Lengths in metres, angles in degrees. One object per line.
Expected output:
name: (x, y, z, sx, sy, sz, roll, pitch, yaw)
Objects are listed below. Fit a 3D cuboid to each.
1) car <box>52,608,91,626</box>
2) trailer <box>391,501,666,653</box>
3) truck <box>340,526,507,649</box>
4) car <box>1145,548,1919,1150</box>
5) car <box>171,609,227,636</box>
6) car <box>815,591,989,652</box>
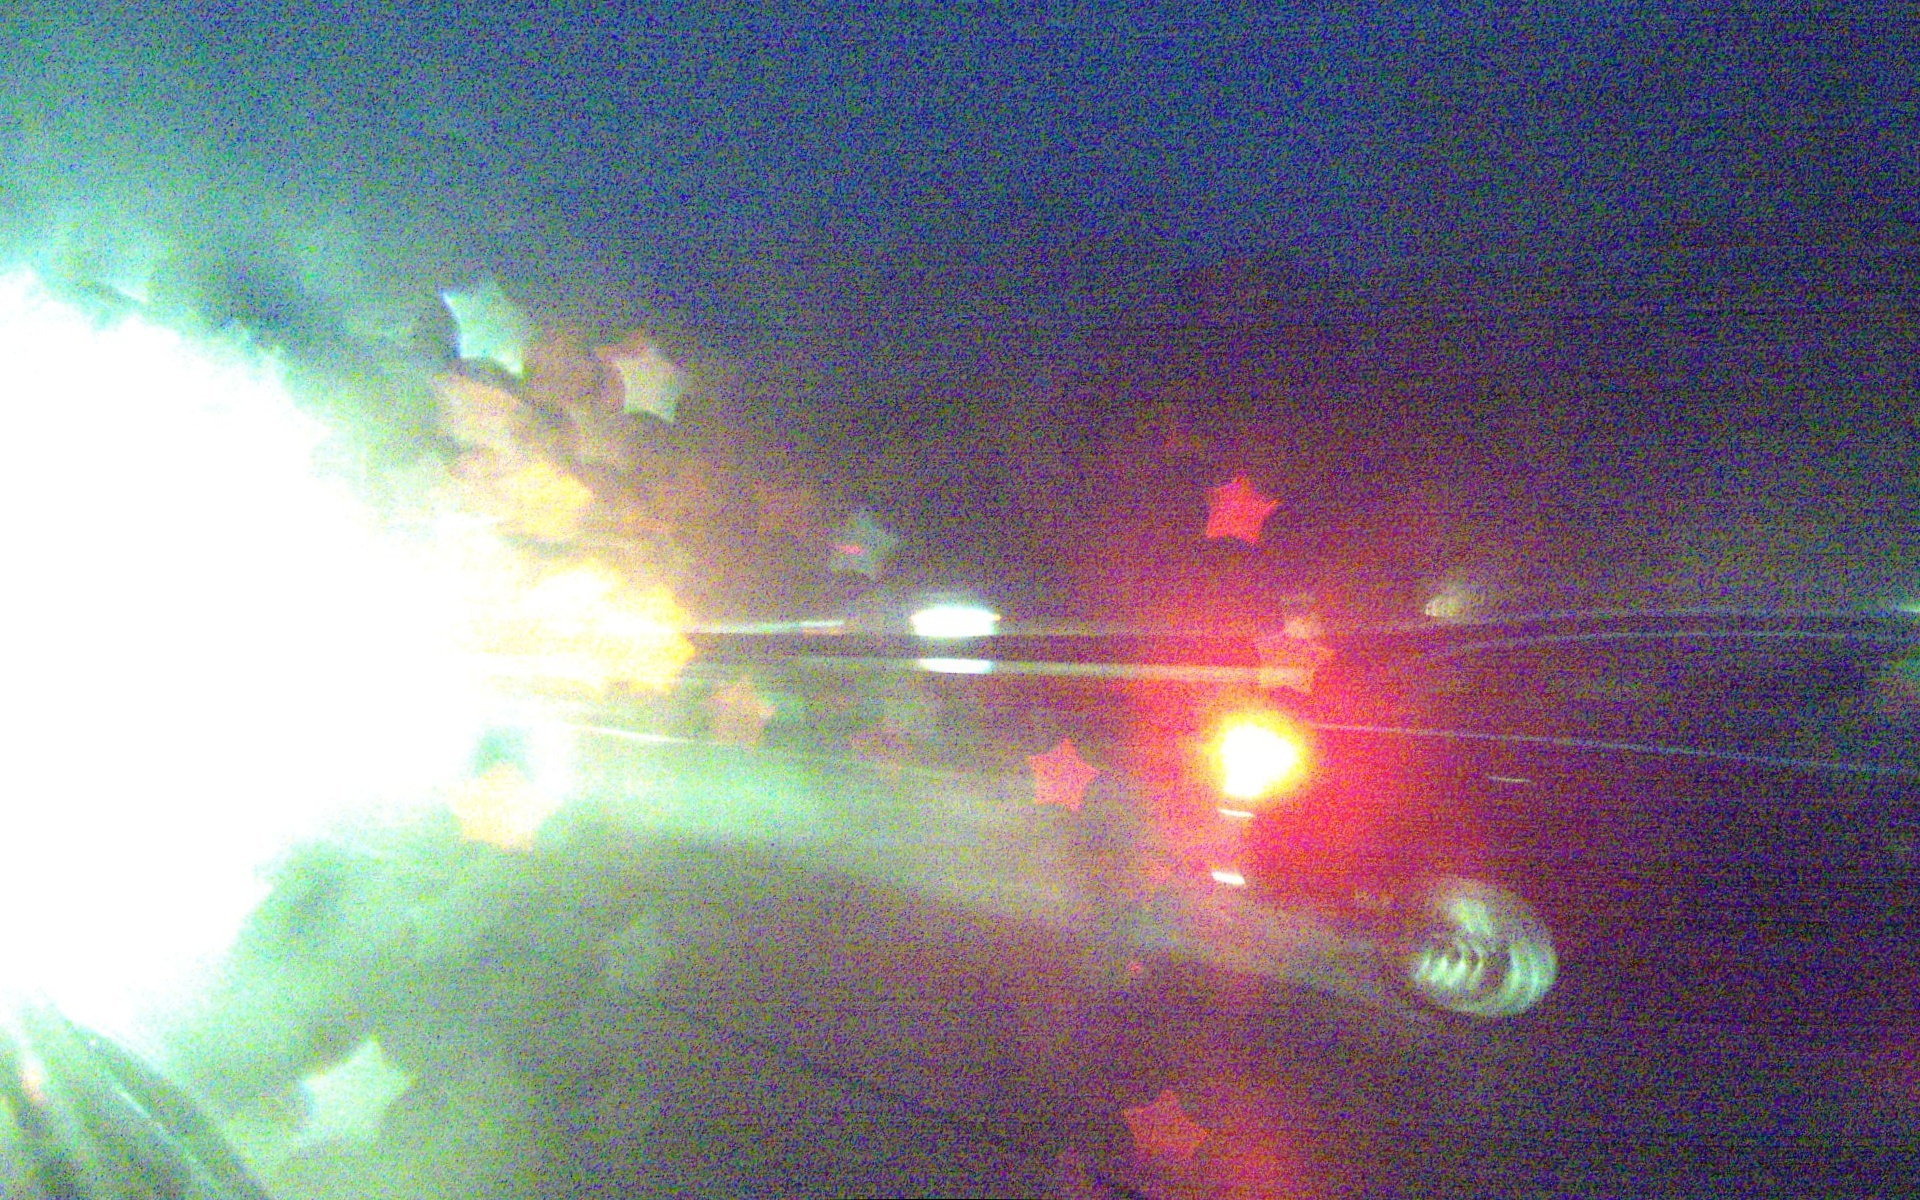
car: (-78.023, 1.479, 88.876, 3.996, 1.507, 1.974, -1, 0, 39)
trailer: (-14.431, -0.561, 33.074, 11.711, 4.205, 3.321, -1, 0, 40)
truck: (-20.219, -0.412, 38.039, 6.459, 4.205, 3.331, -1, 0, 40)
car: (3.181, 0.621, 3.091, 4.910, 1.528, 1.750, -2, -1, 40)
car: (-43.472, 1.268, 57.781, 3.714, 1.507, 1.689, -1, 0, 39)
car: (-1.497, 0.517, 25.260, 4.162, 1.405, 1.821, -1, 0, 38)
